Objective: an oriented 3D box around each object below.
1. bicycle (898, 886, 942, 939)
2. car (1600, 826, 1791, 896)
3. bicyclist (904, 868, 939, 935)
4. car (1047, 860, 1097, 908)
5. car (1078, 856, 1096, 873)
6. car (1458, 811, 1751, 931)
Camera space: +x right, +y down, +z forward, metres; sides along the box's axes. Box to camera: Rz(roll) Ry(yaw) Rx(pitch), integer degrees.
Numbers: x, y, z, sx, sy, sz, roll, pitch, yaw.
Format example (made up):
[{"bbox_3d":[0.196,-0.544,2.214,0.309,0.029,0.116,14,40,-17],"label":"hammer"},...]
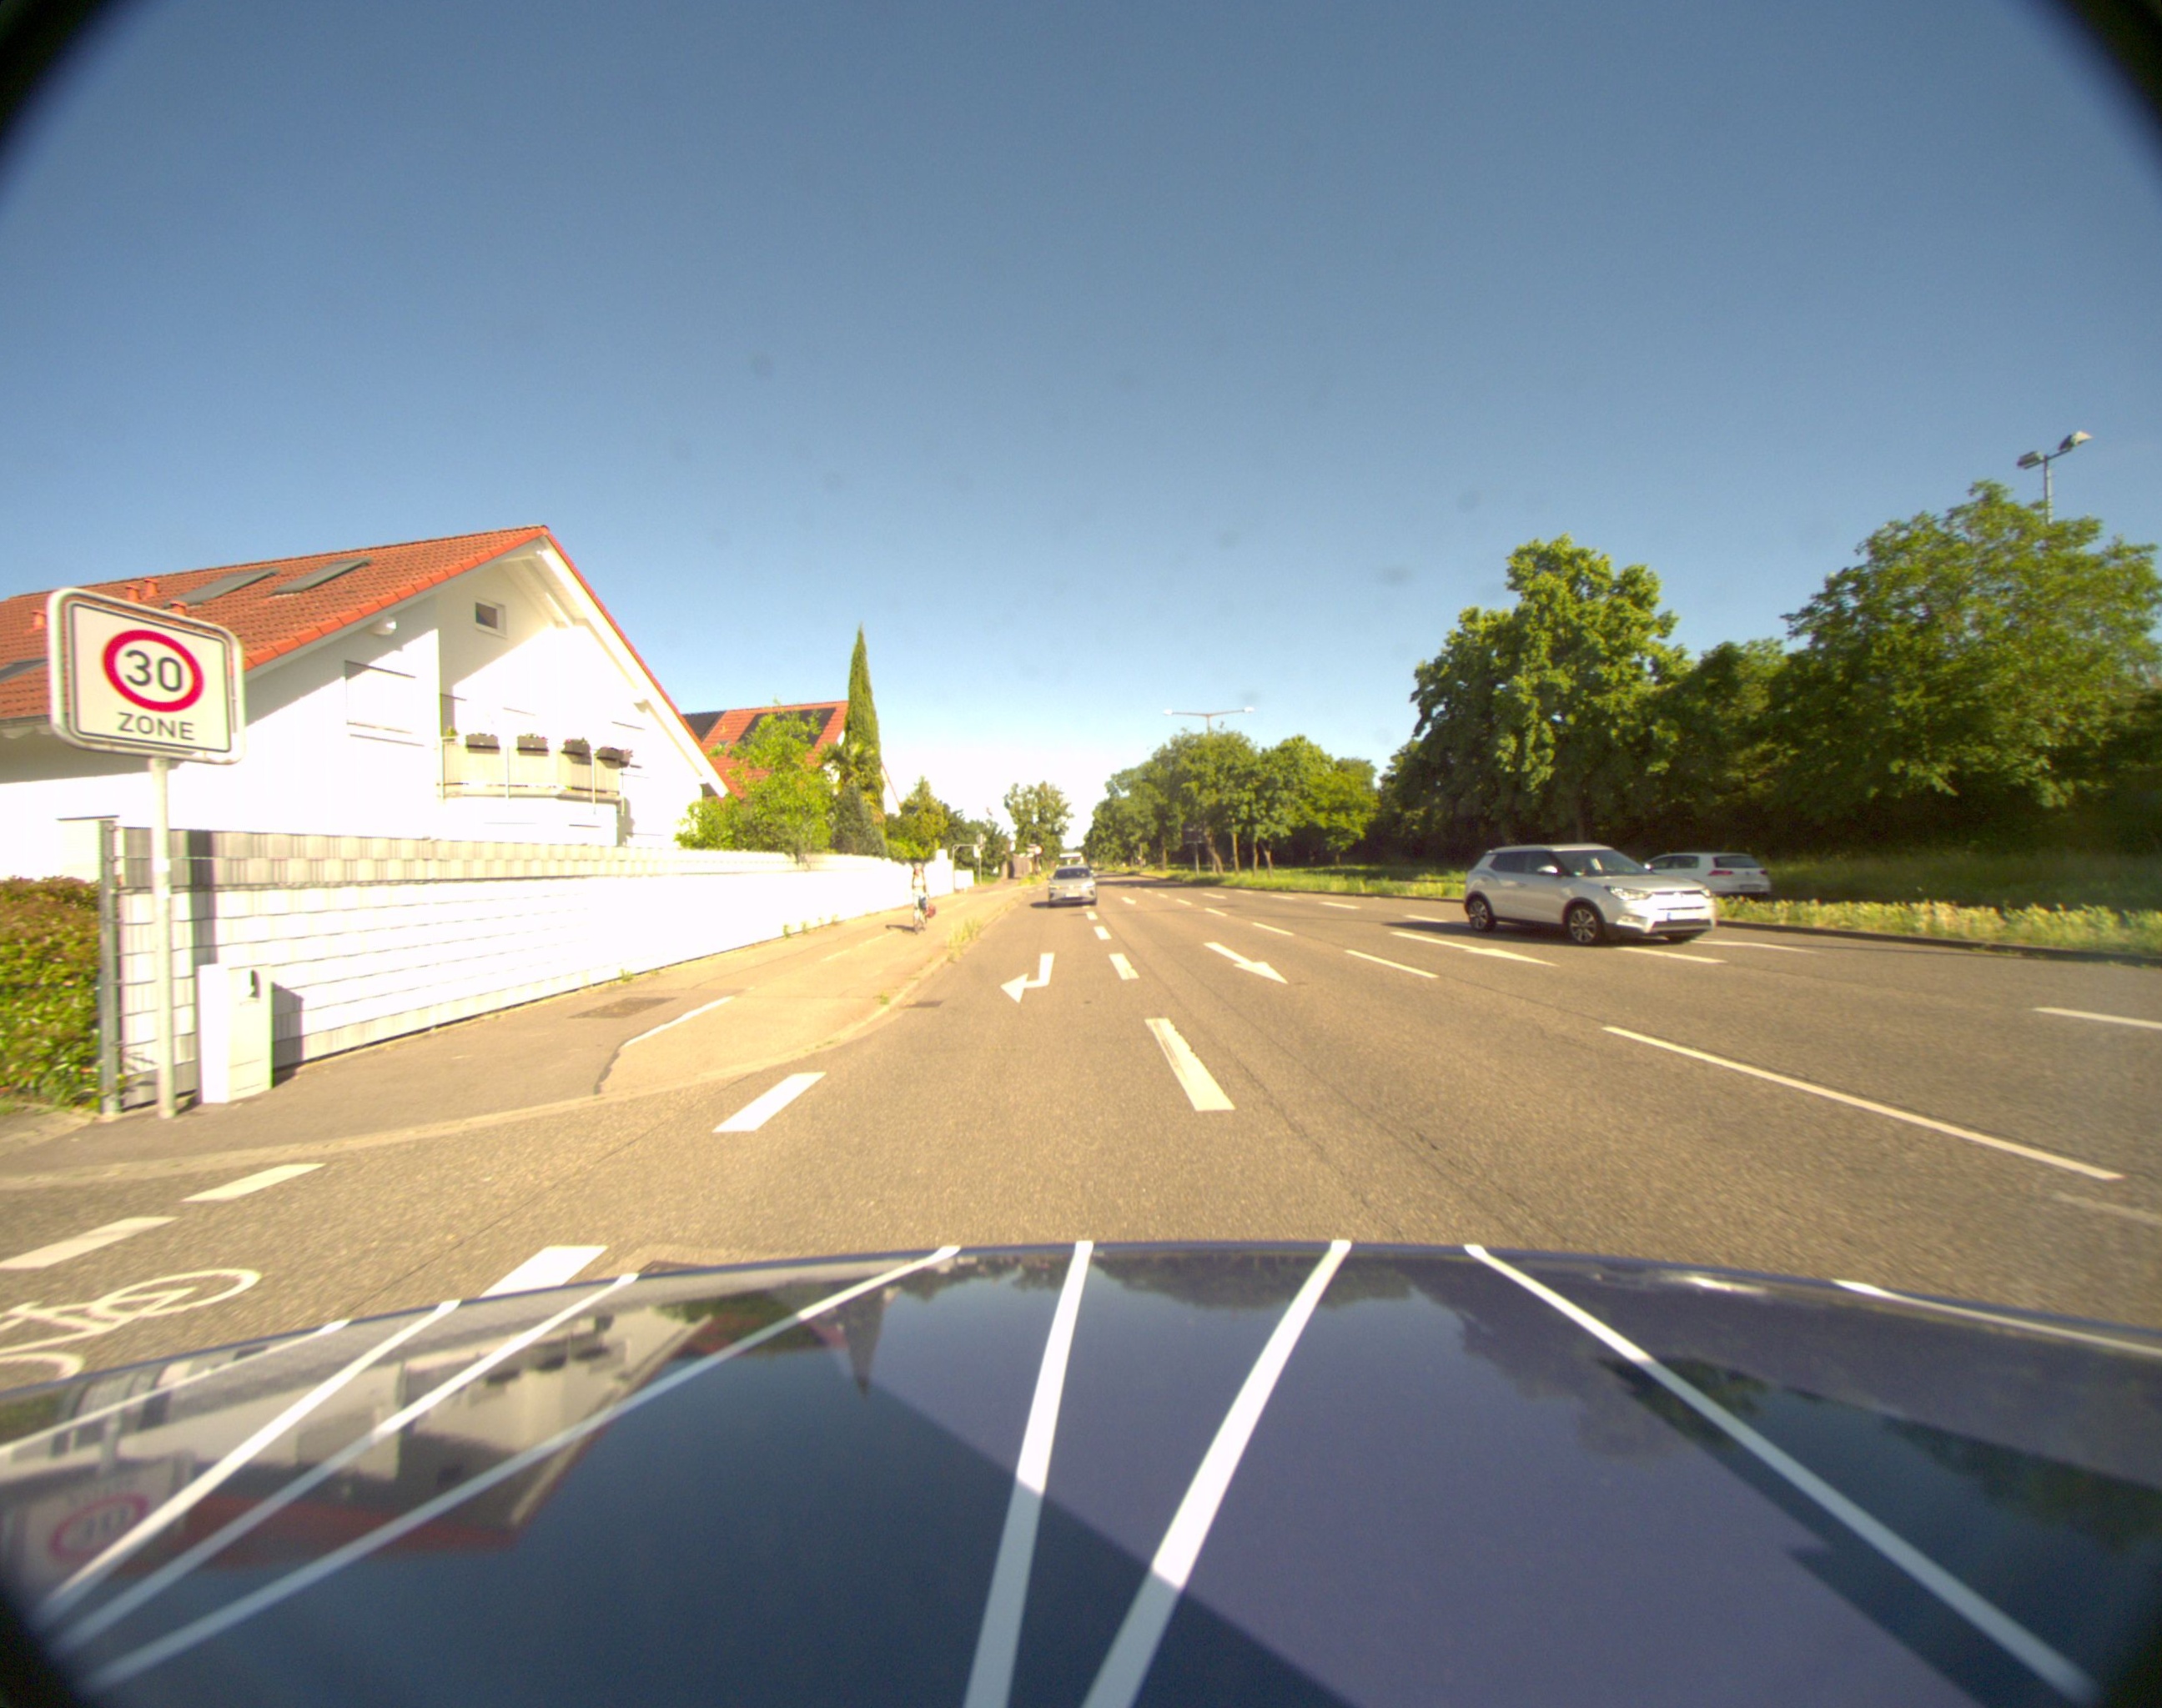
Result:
[{"bbox_3d":[-3.948,1.406,18.798,0.575,1.148,2.141,0,0,1],"label":"bicycle"},{"bbox_3d":[17.675,0.149,22.198,1.917,1.693,4.406,-4,1,-1],"label":"car"},{"bbox_3d":[-3.950,1.156,18.826,0.631,1.623,0.982,0,0,1],"label":"bicyclist"},{"bbox_3d":[-0.382,1.173,31.157,1.766,1.606,4.296,-5,1,-1],"label":"car"},{"bbox_3d":[0.672,1.140,84.751,1.766,1.606,4.296,-4,1,-1],"label":"car"},{"bbox_3d":[8.407,0.228,12.744,1.790,1.600,4.103,-3,0,-6],"label":"car"}]
